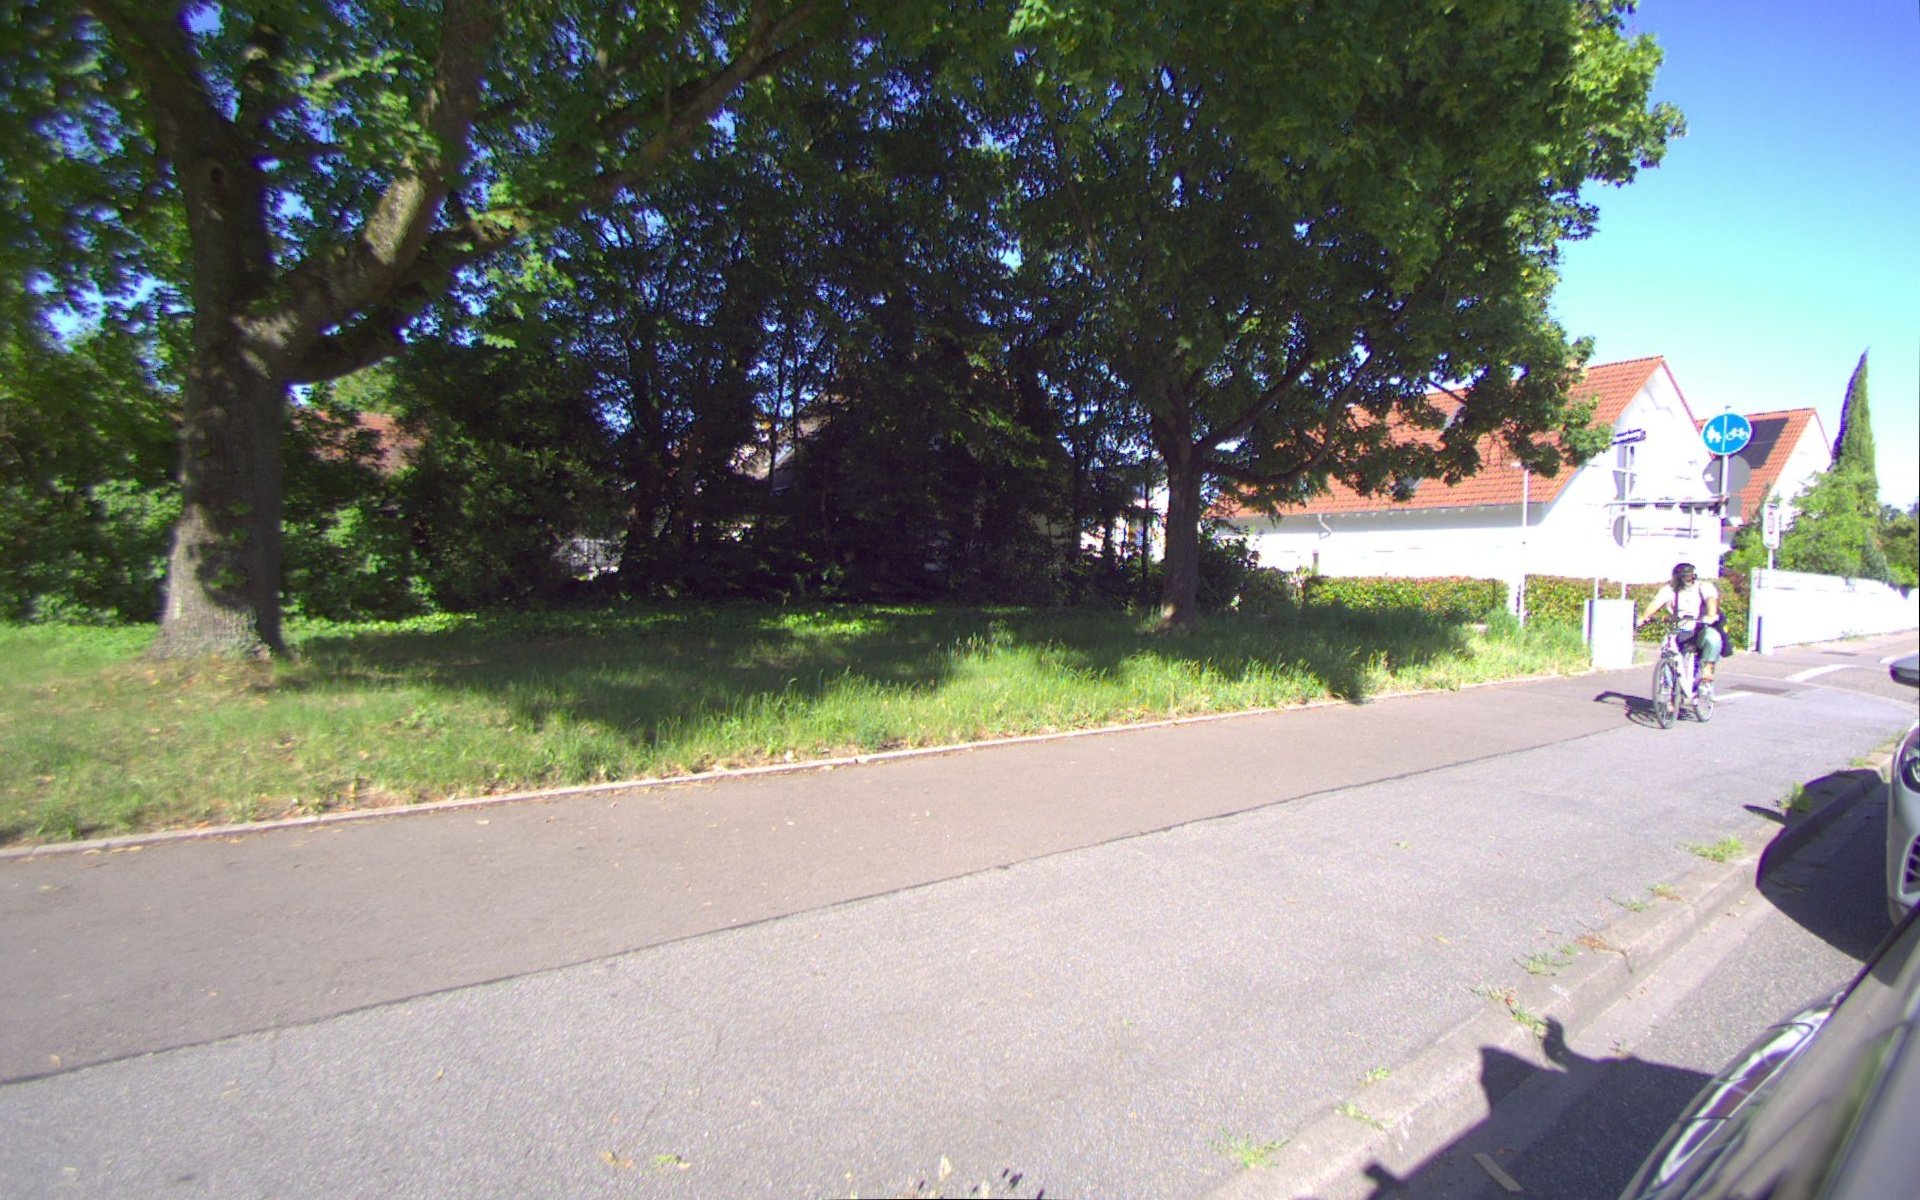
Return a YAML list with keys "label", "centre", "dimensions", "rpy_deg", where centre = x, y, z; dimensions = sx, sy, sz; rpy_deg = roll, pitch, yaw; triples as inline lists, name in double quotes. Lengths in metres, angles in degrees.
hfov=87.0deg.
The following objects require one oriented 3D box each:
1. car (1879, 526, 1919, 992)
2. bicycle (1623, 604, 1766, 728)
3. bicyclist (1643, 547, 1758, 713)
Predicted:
- label: "car"
  centre: [5.628, 0.605, 4.427]
  dimensions: [4.133, 1.710, 1.857]
  rpy_deg: [0, 3, -41]
- label: "bicycle"
  centre: [7.572, 0.629, 10.399]
  dimensions: [1.951, 1.110, 0.581]
  rpy_deg: [0, 5, -37]
- label: "bicyclist"
  centre: [7.590, 0.281, 10.372]
  dimensions: [0.979, 1.600, 0.581]
  rpy_deg: [0, 4, -37]
